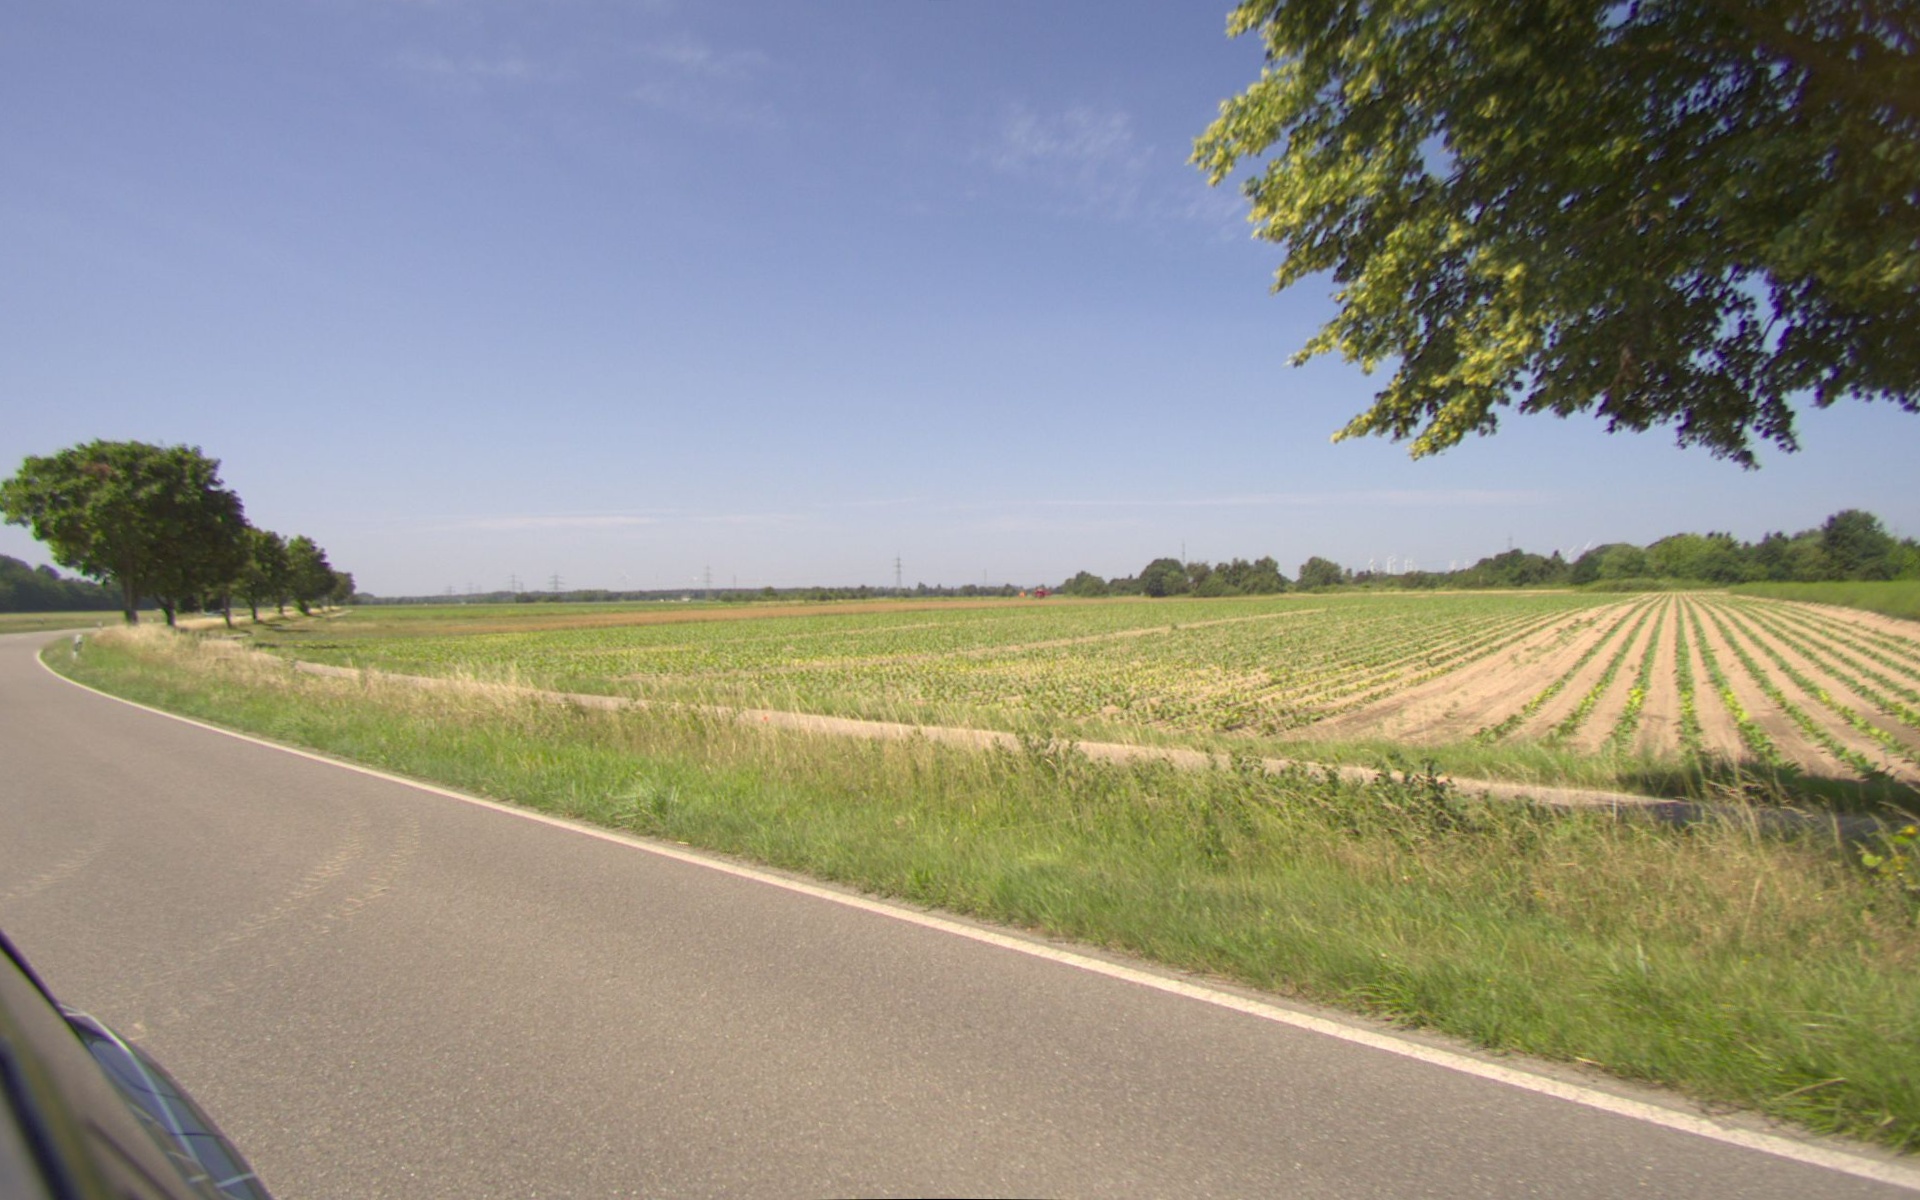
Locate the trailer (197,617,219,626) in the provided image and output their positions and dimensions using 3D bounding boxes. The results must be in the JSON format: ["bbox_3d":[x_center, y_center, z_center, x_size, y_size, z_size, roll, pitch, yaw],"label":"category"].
[{"bbox_3d":[-93.649,2.634,126.077,1.600,1.073,4.132,3,-2,-29],"label":"trailer"}]
